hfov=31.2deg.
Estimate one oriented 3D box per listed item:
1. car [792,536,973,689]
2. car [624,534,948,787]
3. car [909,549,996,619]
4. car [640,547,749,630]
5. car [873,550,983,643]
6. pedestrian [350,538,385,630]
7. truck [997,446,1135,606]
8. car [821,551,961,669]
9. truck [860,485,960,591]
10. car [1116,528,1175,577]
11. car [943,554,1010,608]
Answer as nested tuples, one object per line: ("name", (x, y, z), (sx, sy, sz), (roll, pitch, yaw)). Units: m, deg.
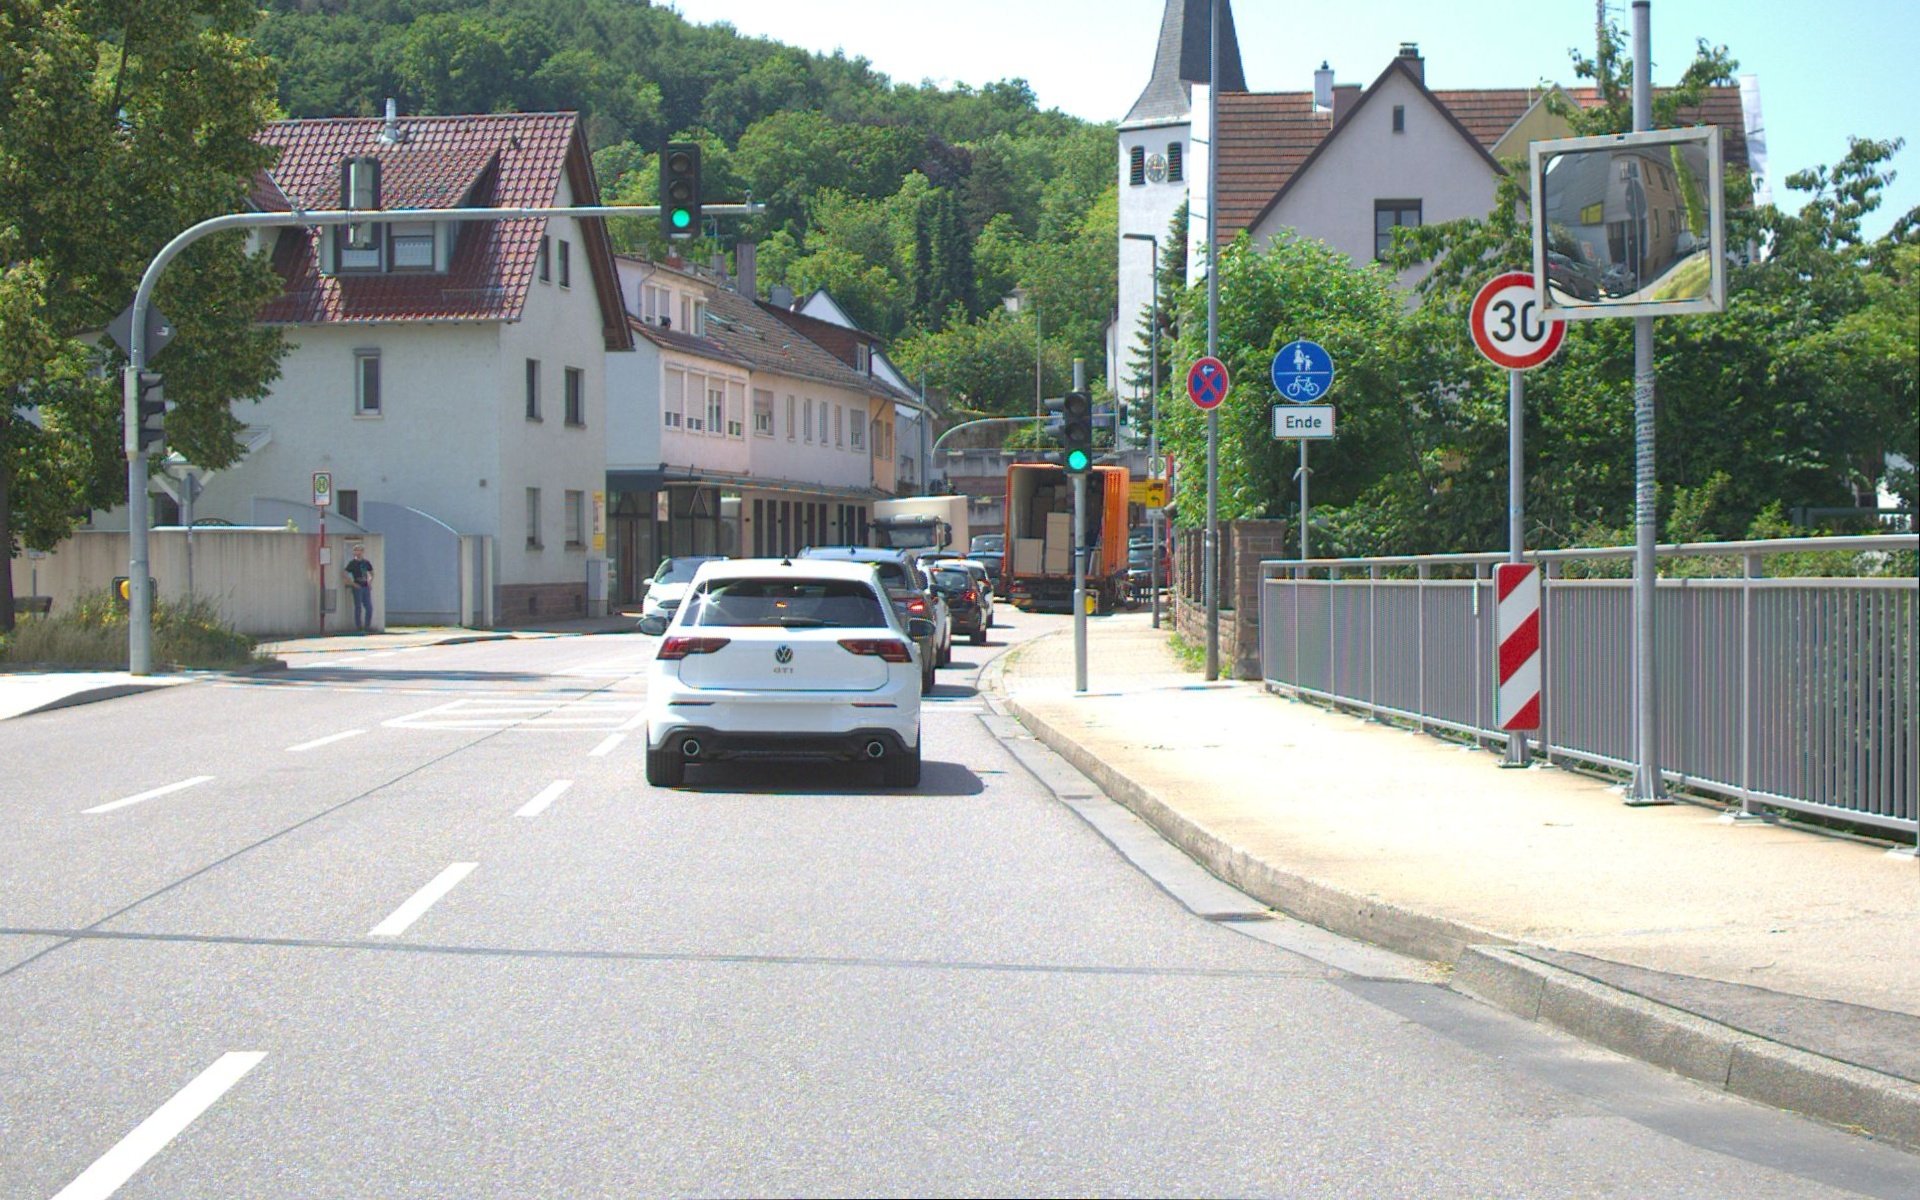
("car", (-0.828, 0.133, 39.212), (1.815, 1.623, 4.000), (-1, 0, 2))
("car", (-1.076, 0.363, 23.068), (1.815, 1.514, 4.000), (1, 0, 2))
("car", (-0.144, -0.356, 77.625), (1.815, 1.514, 4.000), (-1, 0, 2))
("car", (-5.506, -0.234, 71.718), (1.815, 1.644, 4.000), (1, 0, 2))
("car", (-0.555, -0.068, 62.980), (1.815, 1.623, 4.000), (-1, 0, 2))
("pedestrian", (-11.425, -0.314, 66.299), (0.434, 1.758, 0.556), (0, 1, 21))
("truck", (3.044, -1.977, 95.778), (3.367, 4.156, 9.517), (-1, 0, 4))
("car", (-0.965, 0.133, 50.222), (1.815, 1.623, 4.000), (-1, 0, 2))
("truck", (-1.557, -1.932, 109.352), (2.502, 3.224, 6.039), (-1, 0, 5))
("car", (5.962, -1.508, 110.798), (1.815, 1.514, 4.000), (-1, 0, 2))
("car", (0.488, -0.545, 99.978), (1.815, 1.514, 4.000), (-1, 0, 2))
